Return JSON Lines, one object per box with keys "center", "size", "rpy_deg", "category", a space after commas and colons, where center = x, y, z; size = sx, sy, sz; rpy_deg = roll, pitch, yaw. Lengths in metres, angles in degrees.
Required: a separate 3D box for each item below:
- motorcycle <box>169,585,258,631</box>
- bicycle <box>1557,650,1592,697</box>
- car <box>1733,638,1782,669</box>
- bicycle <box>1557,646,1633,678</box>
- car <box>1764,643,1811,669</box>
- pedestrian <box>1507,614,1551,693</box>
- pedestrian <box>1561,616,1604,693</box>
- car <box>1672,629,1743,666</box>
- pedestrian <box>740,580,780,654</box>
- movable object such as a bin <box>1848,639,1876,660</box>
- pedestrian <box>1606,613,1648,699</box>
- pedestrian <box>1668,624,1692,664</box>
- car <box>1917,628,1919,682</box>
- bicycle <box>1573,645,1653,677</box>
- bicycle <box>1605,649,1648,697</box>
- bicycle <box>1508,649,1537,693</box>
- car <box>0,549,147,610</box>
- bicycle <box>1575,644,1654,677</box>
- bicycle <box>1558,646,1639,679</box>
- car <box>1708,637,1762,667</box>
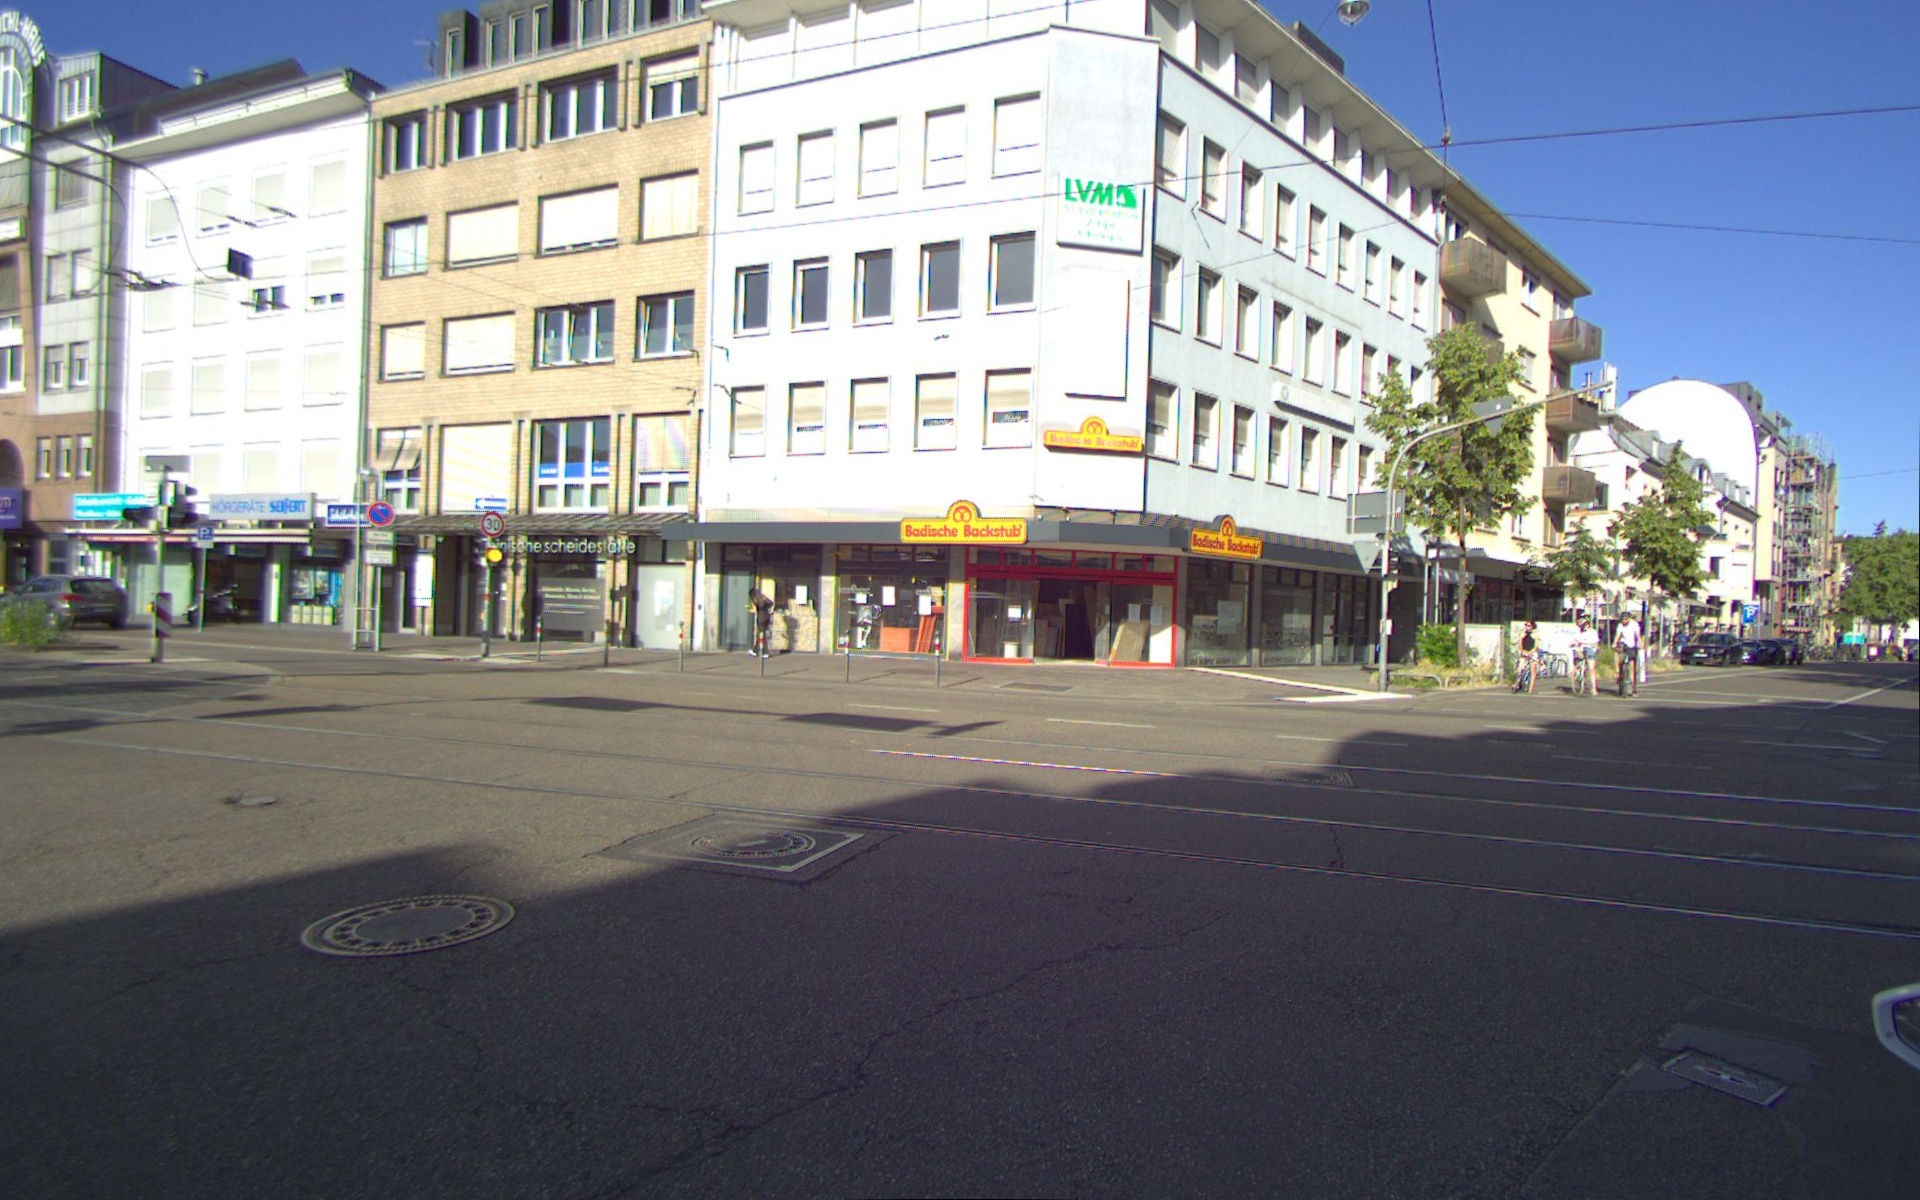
{"center": [-25.760, 0.293, 34.727], "size": [0.980, 1.525, 2.255], "rpy_deg": [2, 0, 20], "category": "motorcycle"}
{"center": [14.216, 1.678, 23.227], "size": [0.545, 0.981, 1.789], "rpy_deg": [2, -1, 35], "category": "bicycle"}
{"center": [45.485, 3.010, 57.244], "size": [3.573, 1.631, 1.701], "rpy_deg": [2, 0, -44], "category": "car"}
{"center": [22.057, 2.139, 34.916], "size": [2.190, 0.971, 0.654], "rpy_deg": [2, 0, 36], "category": "bicycle"}
{"center": [49.466, 3.324, 60.009], "size": [3.881, 1.421, 1.768], "rpy_deg": [3, 0, -45], "category": "car"}
{"center": [13.170, 1.221, 23.253], "size": [0.779, 1.735, 0.652], "rpy_deg": [3, 1, 33], "category": "pedestrian"}
{"center": [14.562, 1.260, 23.509], "size": [0.767, 1.751, 0.558], "rpy_deg": [3, 1, 33], "category": "pedestrian"}
{"center": [36.184, 2.301, 48.590], "size": [3.970, 1.619, 1.975], "rpy_deg": [3, 1, -42], "category": "car"}
{"center": [-4.800, 0.408, 24.160], "size": [0.553, 1.732, 0.708], "rpy_deg": [2, 0, 44], "category": "pedestrian"}
{"center": [65.469, 3.589, 72.910], "size": [1.290, 1.426, 1.068], "rpy_deg": [2, 0, 30], "category": "movable object such as a bin"}
{"center": [15.090, 1.248, 22.744], "size": [0.767, 1.891, 0.999], "rpy_deg": [-1, -1, 33], "category": "pedestrian"}
{"center": [37.243, 2.247, 51.970], "size": [0.939, 2.040, 1.086], "rpy_deg": [-1, -2, 34], "category": "pedestrian"}
{"center": [33.882, 1.916, 34.000], "size": [4.258, 1.756, 1.886], "rpy_deg": [2, 0, -43], "category": "car"}
{"center": [23.559, 2.184, 36.290], "size": [2.359, 0.991, 0.653], "rpy_deg": [2, 0, 38], "category": "bicycle"}
{"center": [15.057, 1.633, 22.693], "size": [0.748, 1.021, 1.720], "rpy_deg": [-1, -2, 35], "category": "bicycle"}
{"center": [13.220, 1.656, 23.600], "size": [0.473, 0.968, 1.452], "rpy_deg": [2, -1, 33], "category": "bicycle"}
{"center": [-27.610, -0.629, 31.252], "size": [3.923, 1.728, 1.999], "rpy_deg": [2, 0, 23], "category": "car"}
{"center": [24.068, 2.206, 36.961], "size": [2.366, 1.019, 0.653], "rpy_deg": [2, 0, 37], "category": "bicycle"}
{"center": [22.539, 2.196, 35.463], "size": [2.365, 0.971, 0.543], "rpy_deg": [2, 0, 36], "category": "bicycle"}
{"center": [41.173, 2.731, 53.352], "size": [3.881, 1.421, 1.768], "rpy_deg": [3, 0, -45], "category": "car"}
